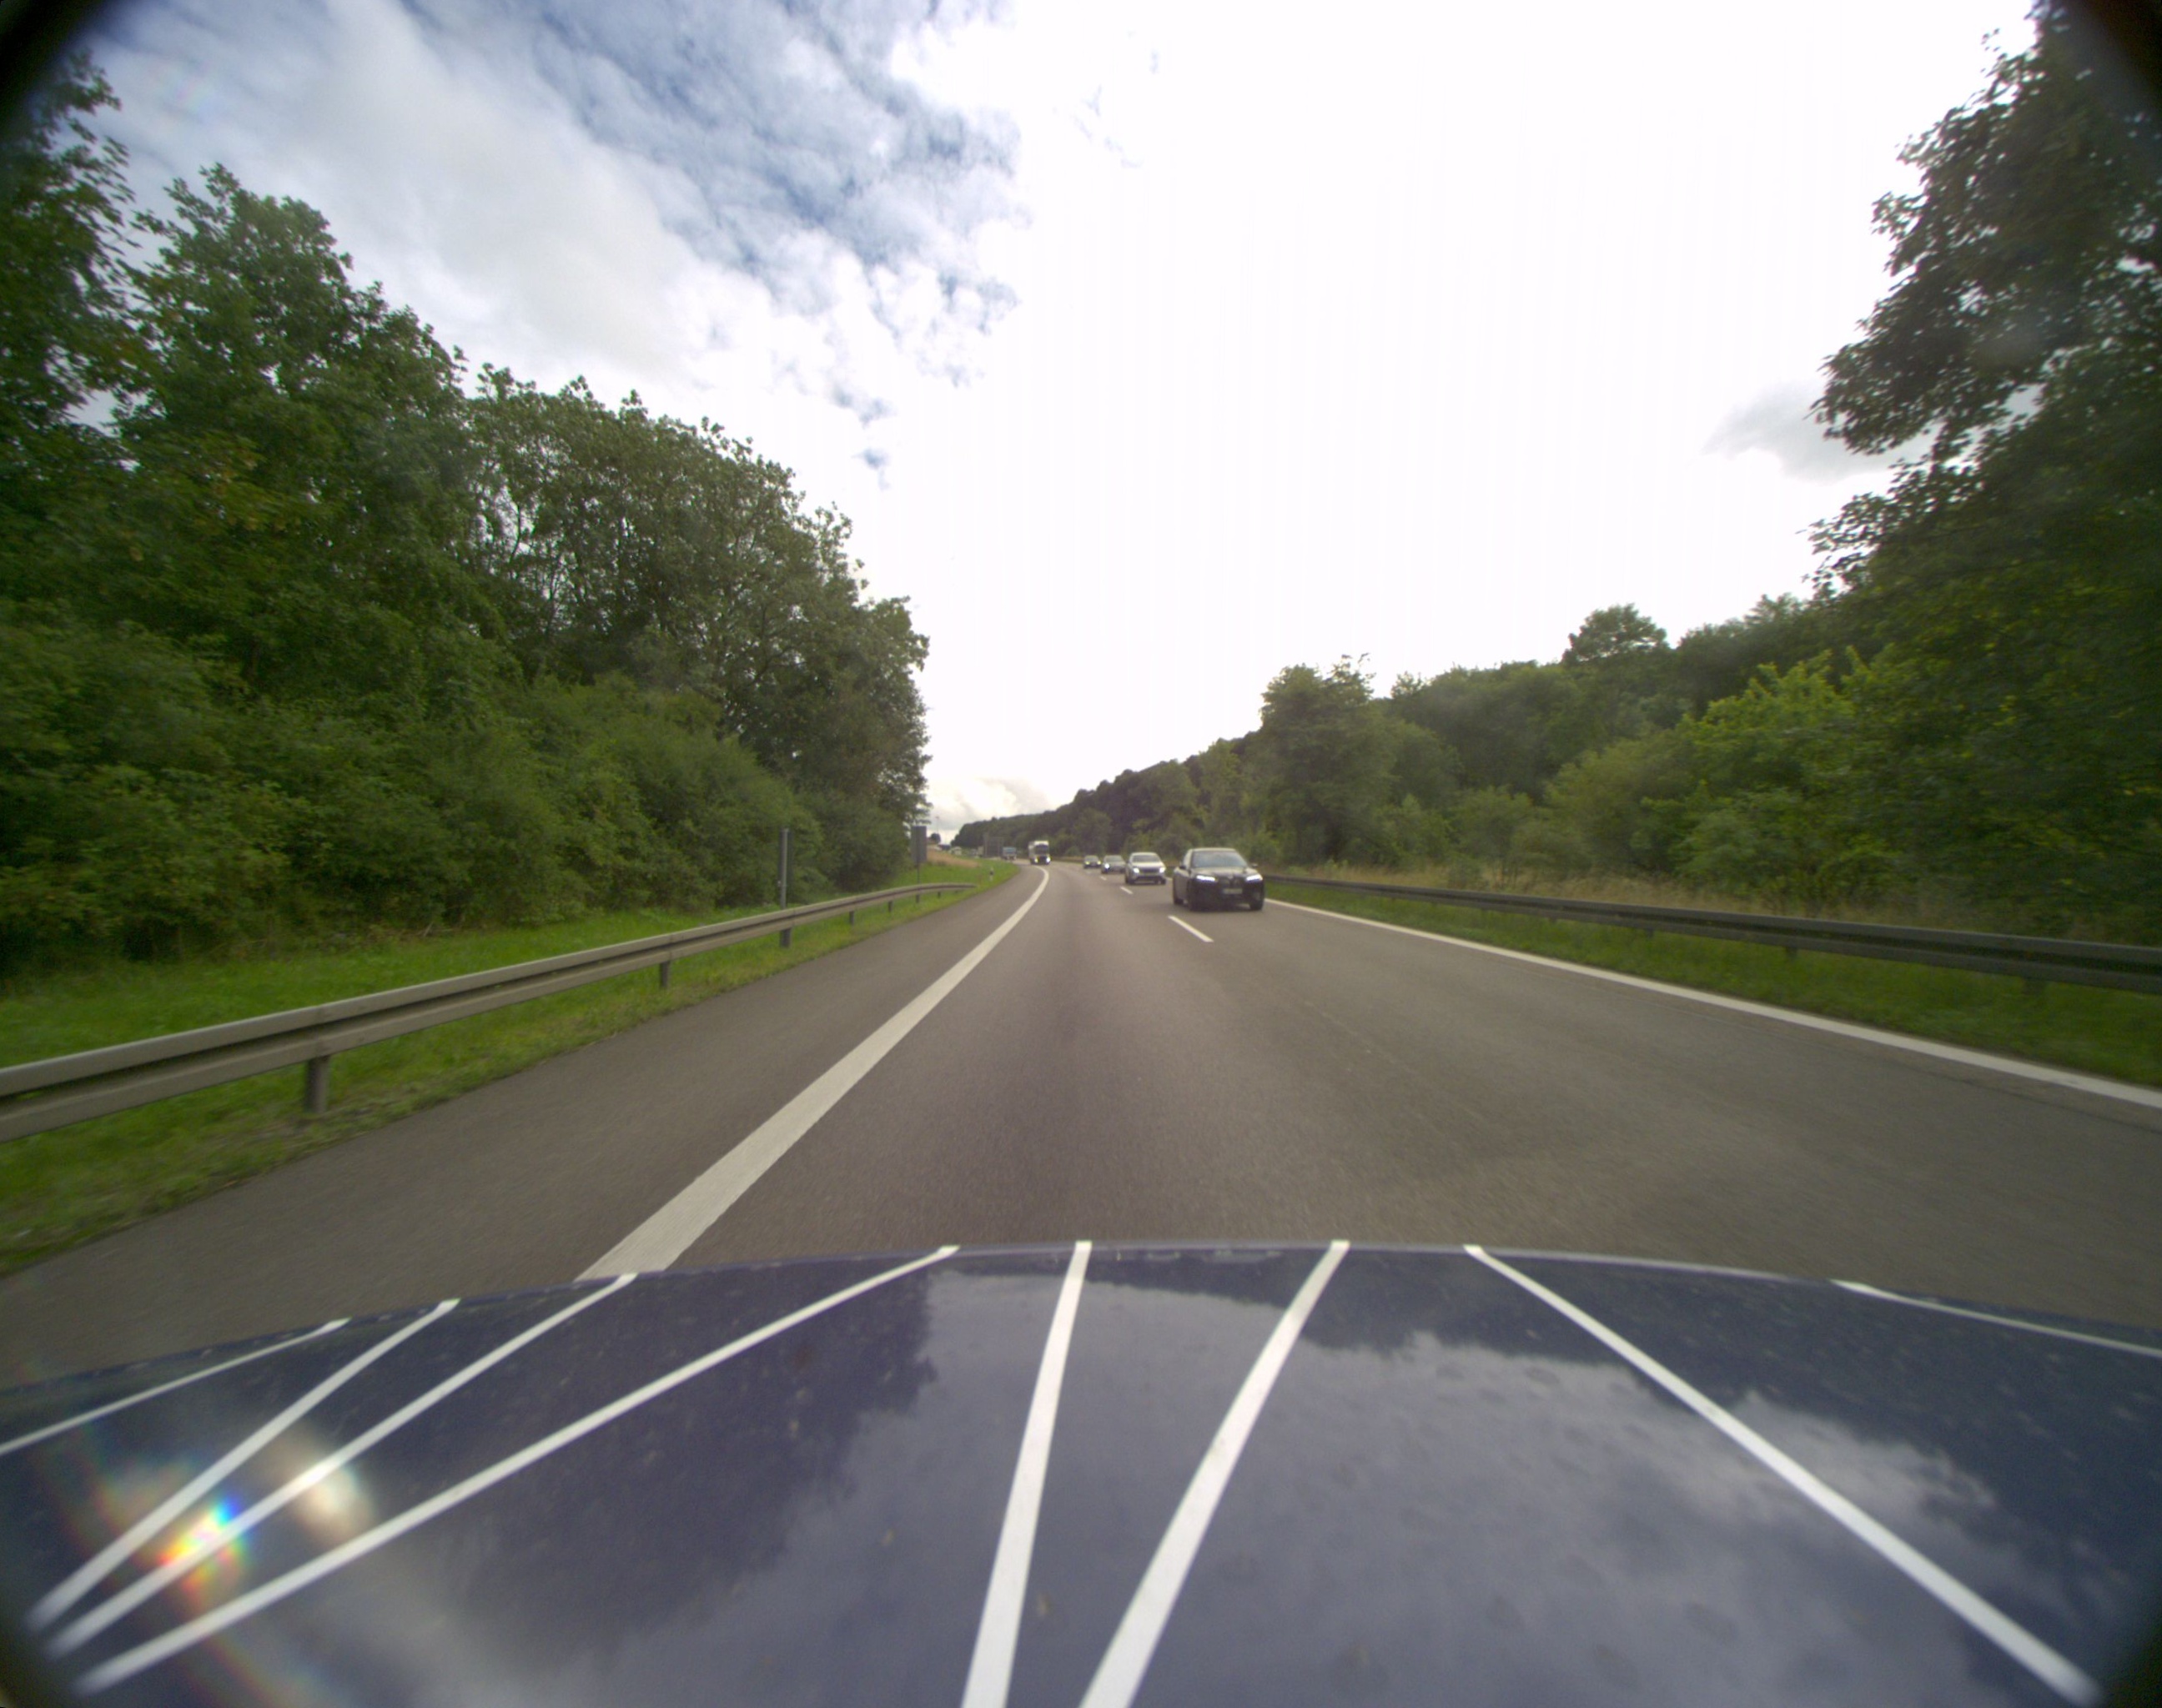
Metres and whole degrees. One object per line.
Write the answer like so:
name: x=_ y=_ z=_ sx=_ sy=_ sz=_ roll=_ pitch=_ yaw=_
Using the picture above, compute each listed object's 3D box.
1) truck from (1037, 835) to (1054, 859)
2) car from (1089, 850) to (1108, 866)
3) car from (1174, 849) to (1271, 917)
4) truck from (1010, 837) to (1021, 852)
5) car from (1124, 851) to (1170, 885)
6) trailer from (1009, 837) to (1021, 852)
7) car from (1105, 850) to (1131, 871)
truck: x=-6.030 y=-1.151 z=128.542 sx=2.796 sy=3.949 sz=5.938 roll=-1 pitch=1 yaw=-2
car: x=1.930 y=0.446 z=85.428 sx=1.999 sy=1.656 sz=4.413 roll=-1 pitch=2 yaw=-1
car: x=3.864 y=0.720 z=21.547 sx=1.998 sy=1.656 sz=4.415 roll=-2 pitch=1 yaw=2
truck: x=-18.096 y=-2.588 z=209.588 sx=2.797 sy=3.949 sz=5.935 roll=-1 pitch=1 yaw=-7
car: x=3.470 y=0.685 z=40.521 sx=1.999 sy=1.656 sz=4.414 roll=-1 pitch=1 yaw=-1
trailer: x=-18.836 y=-2.654 z=215.581 sx=2.788 sy=3.932 sz=11.287 roll=-1 pitch=1 yaw=-7
car: x=2.996 y=0.501 z=62.703 sx=1.998 sy=1.656 sz=4.414 roll=-1 pitch=1 yaw=1
